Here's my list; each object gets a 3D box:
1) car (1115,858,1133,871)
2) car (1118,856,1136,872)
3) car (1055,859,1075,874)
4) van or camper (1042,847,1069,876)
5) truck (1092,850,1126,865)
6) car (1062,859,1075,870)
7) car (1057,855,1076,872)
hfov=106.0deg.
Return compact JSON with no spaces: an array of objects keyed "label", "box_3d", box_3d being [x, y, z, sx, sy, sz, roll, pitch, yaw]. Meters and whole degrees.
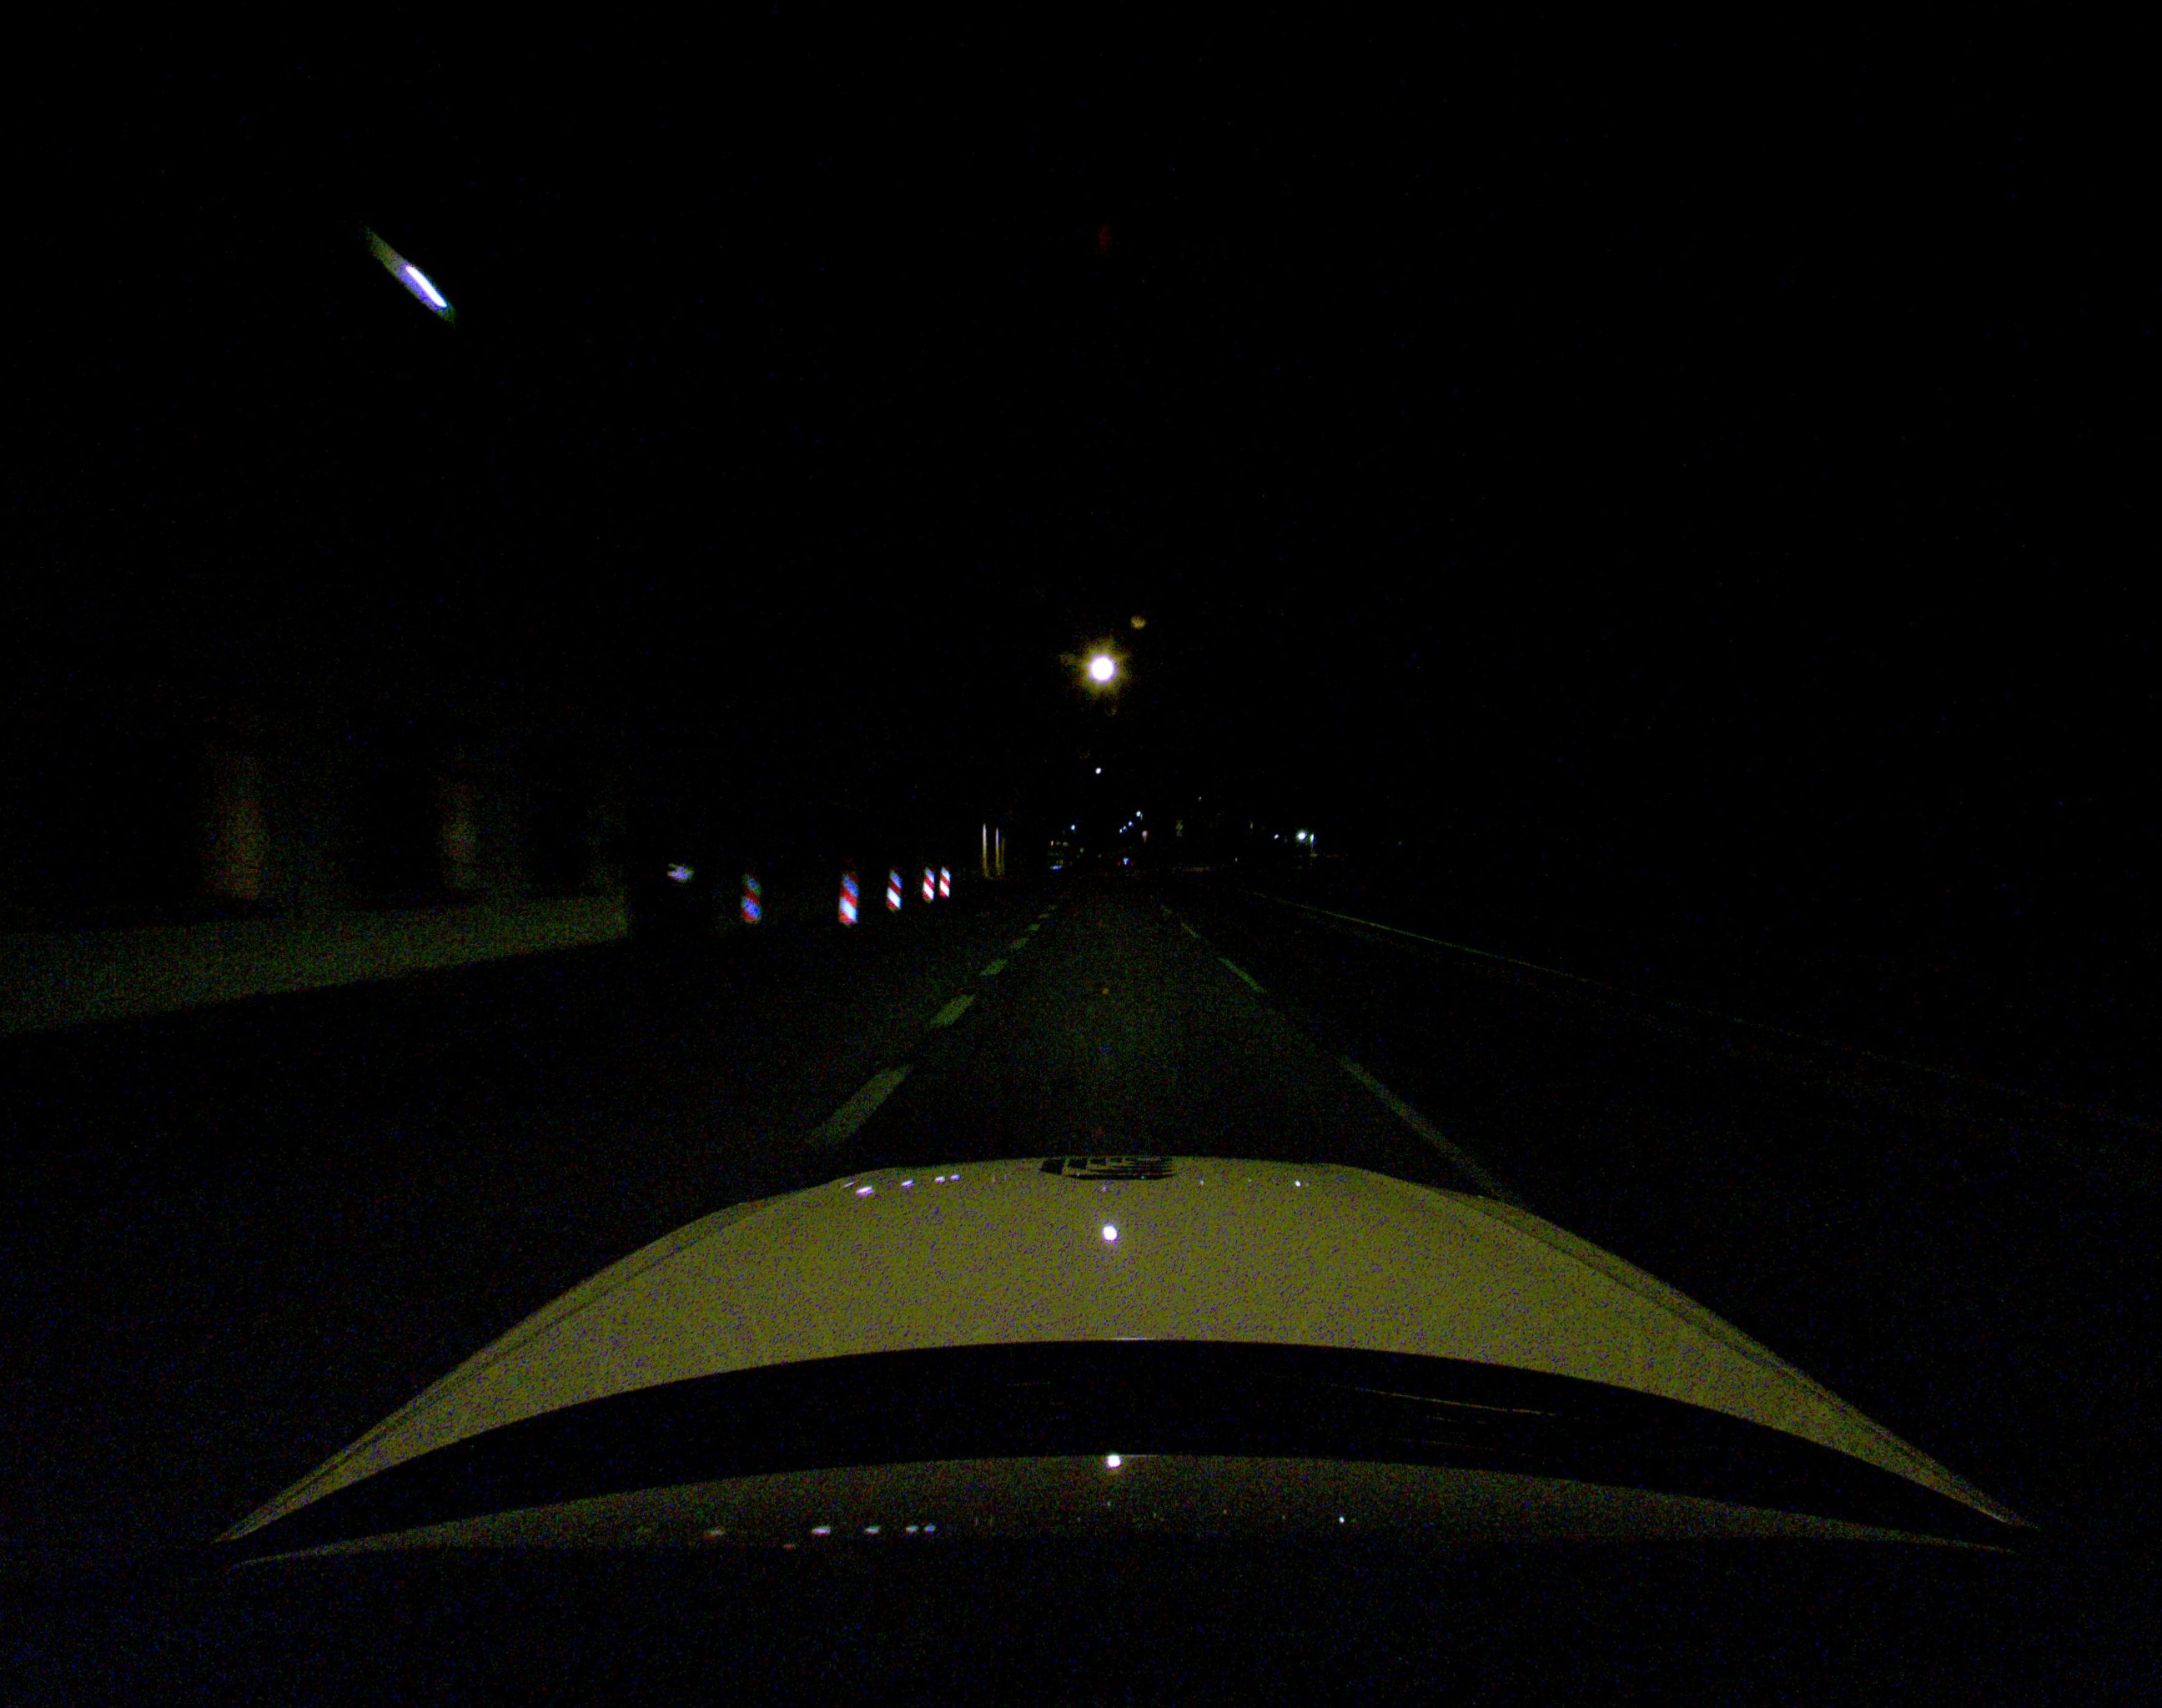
[{"label":"car","box_3d":[4.942,1.232,93.565,1.956,1.383,4.001,-1,-1,2]},{"label":"car","box_3d":[4.969,1.049,88.211,1.876,1.603,4.110,-3,-1,3]},{"label":"car","box_3d":[-1.788,1.330,88.780,1.836,1.507,4.733,-2,-1,-5]},{"label":"van or camper","box_3d":[-2.400,0.728,77.799,2.151,2.535,6.227,-3,-1,1]},{"label":"truck","box_3d":[5.703,0.682,165.674,6.758,2.844,1.999,-1,0,-2]},{"label":"car","box_3d":[-1.706,1.437,111.247,1.699,1.510,4.099,0,-1,1]},{"label":"car","box_3d":[-1.730,1.196,98.804,1.986,1.955,4.807,-1,-1,1]}]
